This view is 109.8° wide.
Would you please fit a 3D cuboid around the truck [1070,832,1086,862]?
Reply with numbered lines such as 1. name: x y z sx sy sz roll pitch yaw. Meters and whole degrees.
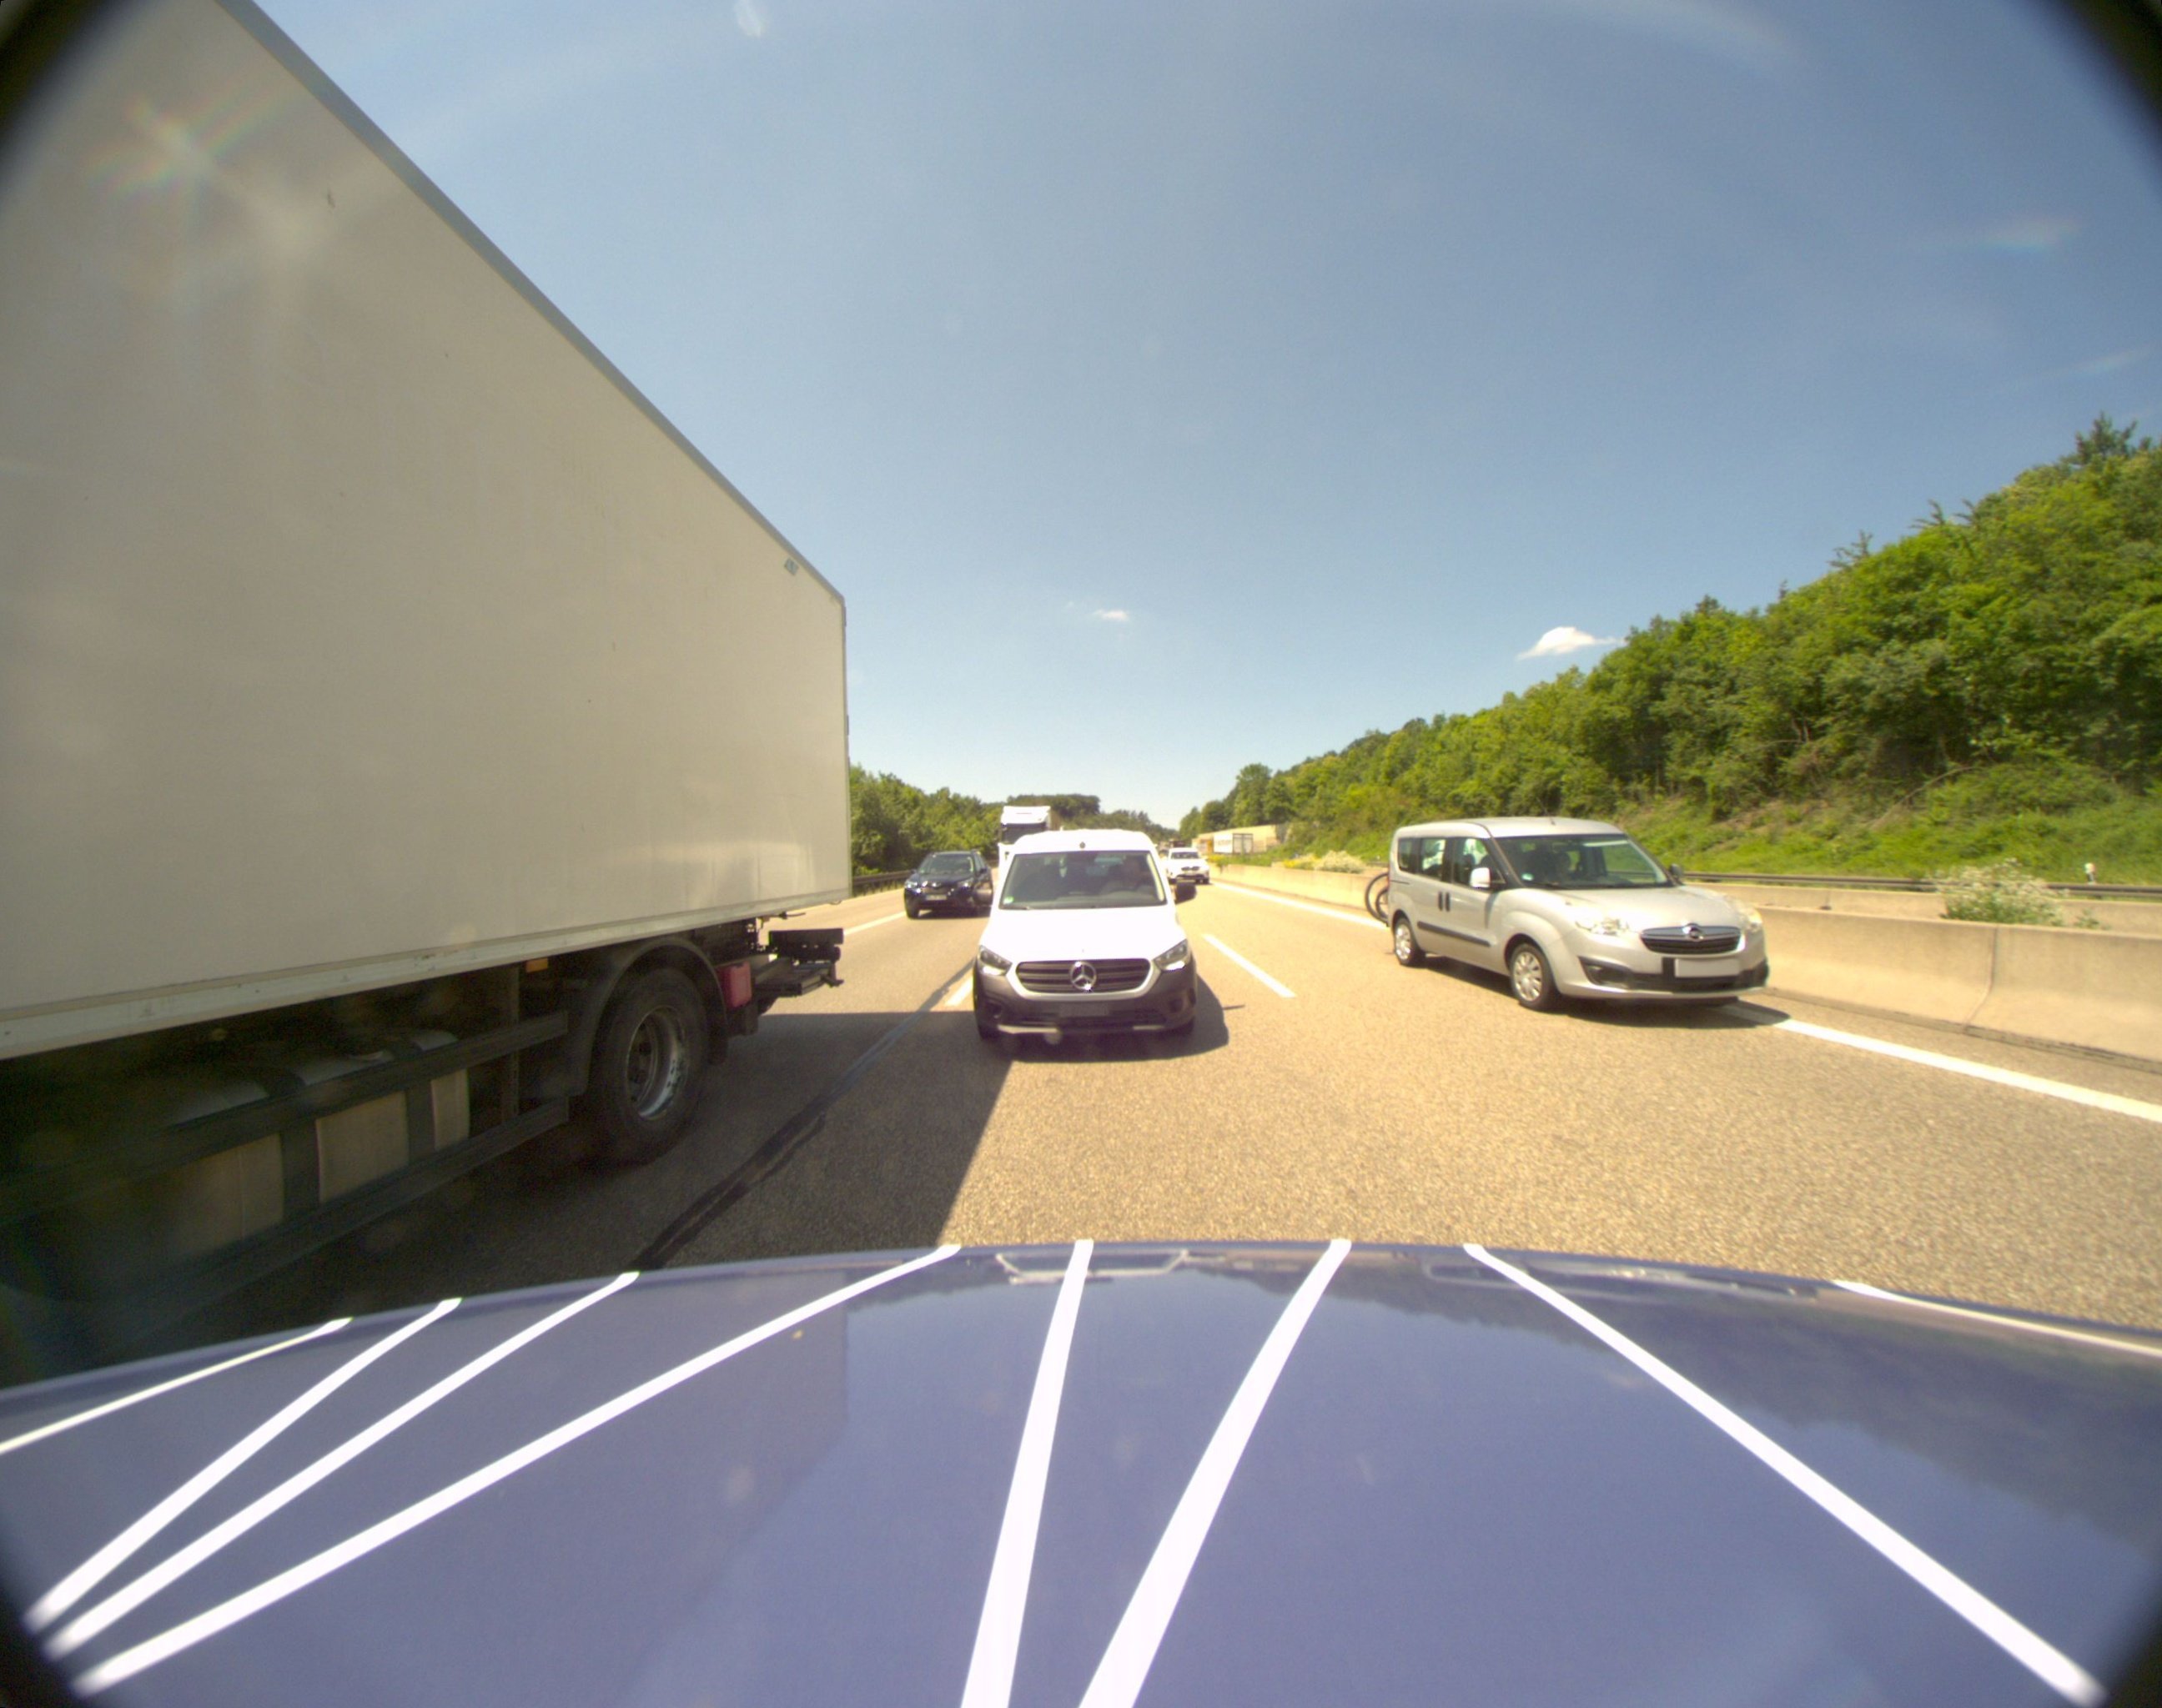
1. truck: -0.408 -0.991 116.742 2.187 4.438 10.868 -2 0 0

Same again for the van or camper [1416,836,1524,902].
1. van or camper: 15.793 0.516 31.167 1.998 2.371 4.808 3 1 3

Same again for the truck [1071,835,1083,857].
1. truck: -0.741 -1.491 149.148 2.187 4.073 10.868 -2 0 0

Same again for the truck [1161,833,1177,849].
1. truck: 26.029 -3.826 225.066 3.277 4.518 14.100 -2 0 1

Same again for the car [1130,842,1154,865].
1. car: 5.679 -0.084 71.176 1.998 2.002 4.000 -2 1 1

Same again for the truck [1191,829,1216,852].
1. truck: 25.556 -2.783 159.297 3.098 4.519 14.097 -2 1 1

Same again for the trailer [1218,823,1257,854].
1. trailer: 20.844 -2.049 101.971 3.004 3.850 11.398 -2 1 1

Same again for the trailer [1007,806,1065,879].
1. trailer: -2.627 -0.785 48.380 2.766 4.061 11.615 0 1 1

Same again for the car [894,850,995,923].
1. car: -3.530 0.762 20.555 1.999 1.682 4.609 -1 1 -2

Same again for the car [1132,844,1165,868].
1. car: 5.279 0.134 59.755 1.999 1.747 3.998 -2 1 -2

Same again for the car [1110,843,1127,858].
1. car: 4.996 -0.506 102.774 1.999 2.002 3.998 -1 1 -1

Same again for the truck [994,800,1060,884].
1. truck: -2.783 -0.675 41.702 2.766 4.061 7.333 -2 1 2

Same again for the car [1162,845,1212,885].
1. car: 4.928 0.455 35.749 1.824 1.696 3.999 -2 1 1

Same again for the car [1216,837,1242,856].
1. car: 16.326 -0.859 83.954 1.999 2.002 3.998 -2 1 -1

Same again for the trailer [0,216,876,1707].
1. trailer: -3.318 0.230 3.246 2.562 2.882 7.881 -2 0 1

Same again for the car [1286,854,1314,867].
1. car: 23.306 0.658 81.004 1.998 1.326 4.001 -1 0 3

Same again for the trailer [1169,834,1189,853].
1. trailer: 22.119 -2.392 172.446 3.443 4.171 7.895 -2 1 1

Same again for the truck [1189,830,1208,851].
1. truck: 25.681 -2.937 166.547 3.099 4.519 7.093 -2 1 1

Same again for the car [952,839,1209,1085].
1. car: 0.039 0.729 7.566 1.756 1.681 4.363 -2 1 1

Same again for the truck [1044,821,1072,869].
1. truck: -2.197 -0.812 77.199 2.394 4.438 10.868 -2 0 0

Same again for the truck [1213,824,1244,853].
1. truck: 20.909 -2.227 108.180 2.947 3.897 7.214 -2 1 1

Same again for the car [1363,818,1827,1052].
1. car: 4.906 0.587 8.357 1.857 1.762 4.917 -2 1 2

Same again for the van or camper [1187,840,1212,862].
1. van or camper: 17.099 -0.481 109.689 2.400 2.860 6.710 -2 1 0
